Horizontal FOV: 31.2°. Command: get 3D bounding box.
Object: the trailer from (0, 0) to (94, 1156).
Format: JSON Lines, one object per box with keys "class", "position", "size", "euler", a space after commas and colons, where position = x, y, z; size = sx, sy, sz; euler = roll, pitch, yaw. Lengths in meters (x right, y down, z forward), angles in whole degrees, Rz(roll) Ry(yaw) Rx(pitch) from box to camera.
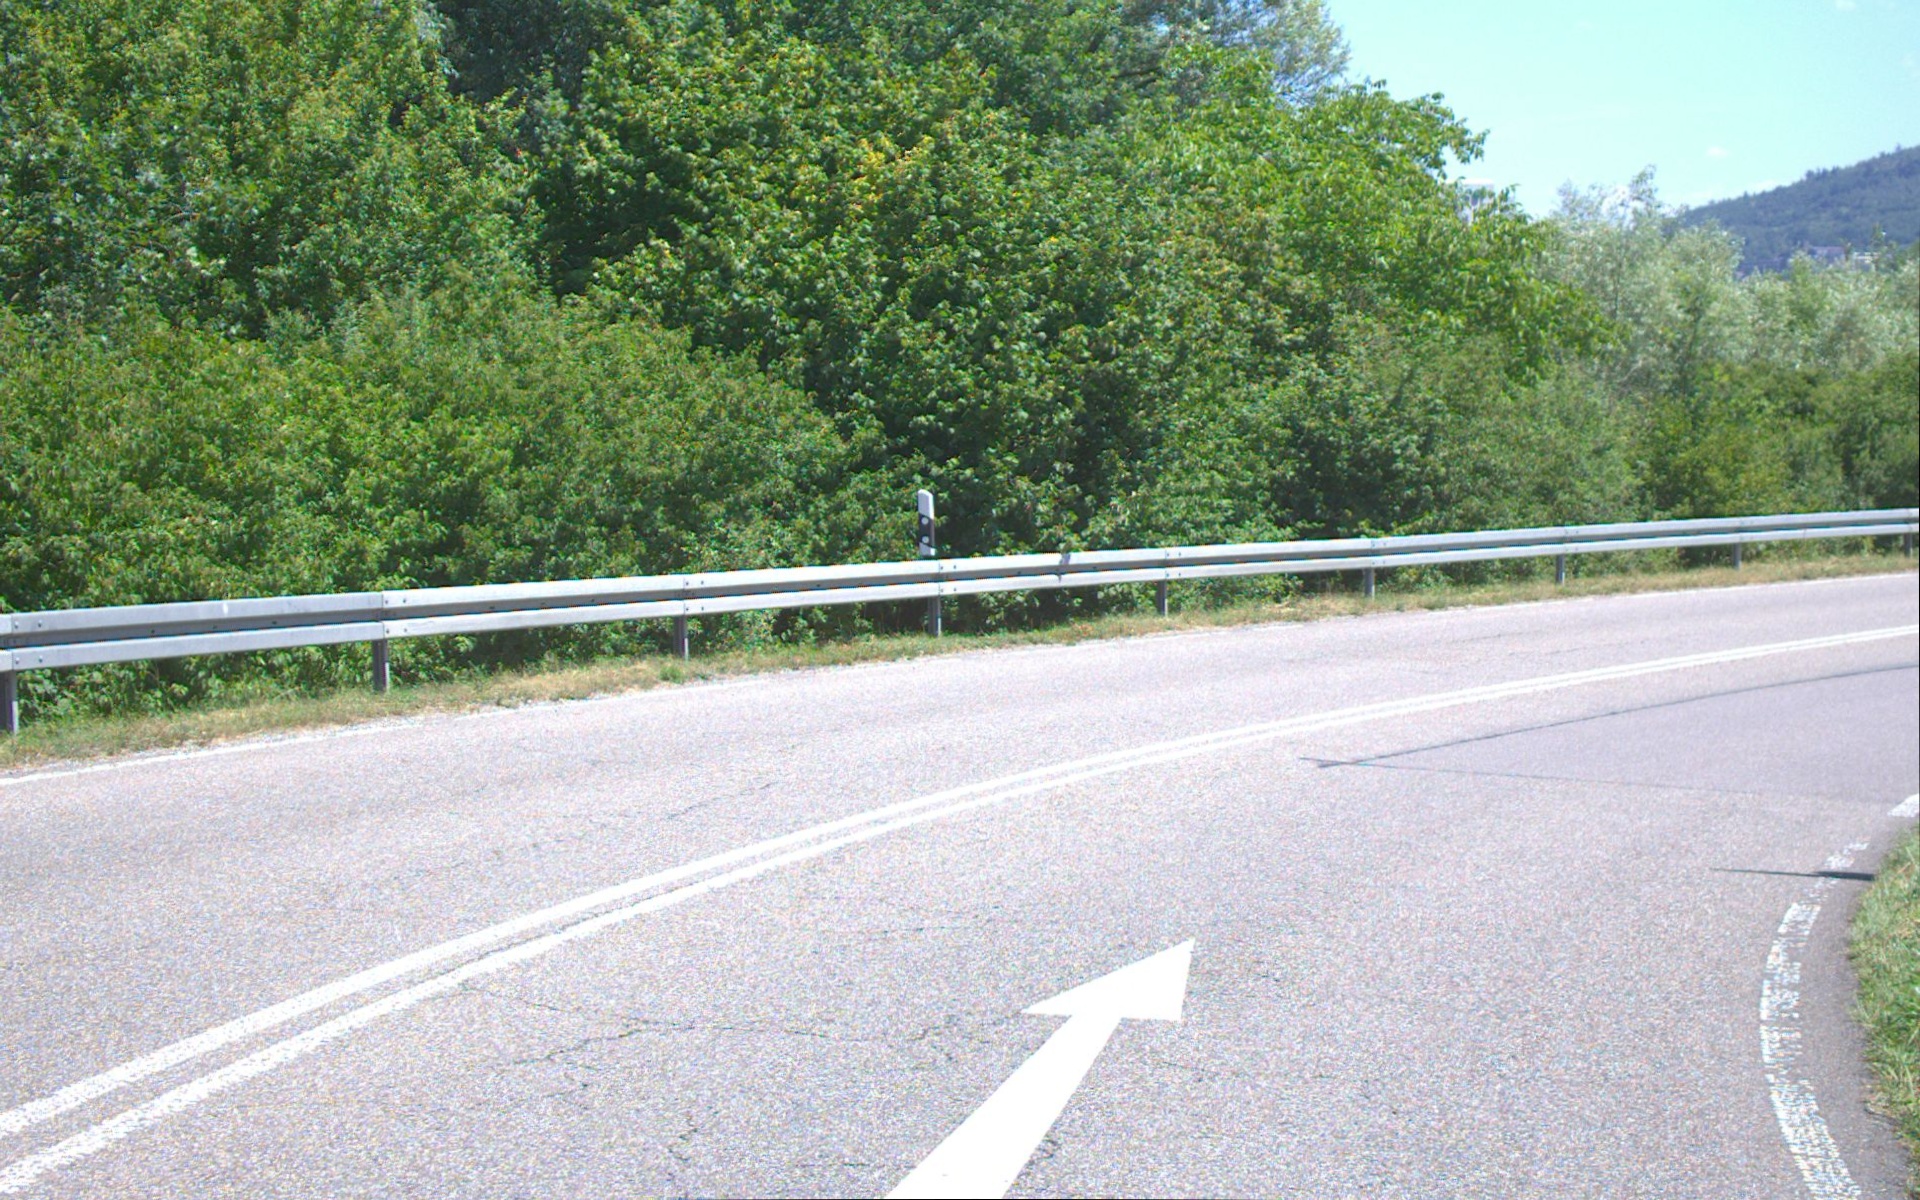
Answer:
{"class": "trailer", "position": [-4.210, -0.543, 1.765], "size": [2.793, 3.885, 13.984], "euler": [1, 1, 5]}
